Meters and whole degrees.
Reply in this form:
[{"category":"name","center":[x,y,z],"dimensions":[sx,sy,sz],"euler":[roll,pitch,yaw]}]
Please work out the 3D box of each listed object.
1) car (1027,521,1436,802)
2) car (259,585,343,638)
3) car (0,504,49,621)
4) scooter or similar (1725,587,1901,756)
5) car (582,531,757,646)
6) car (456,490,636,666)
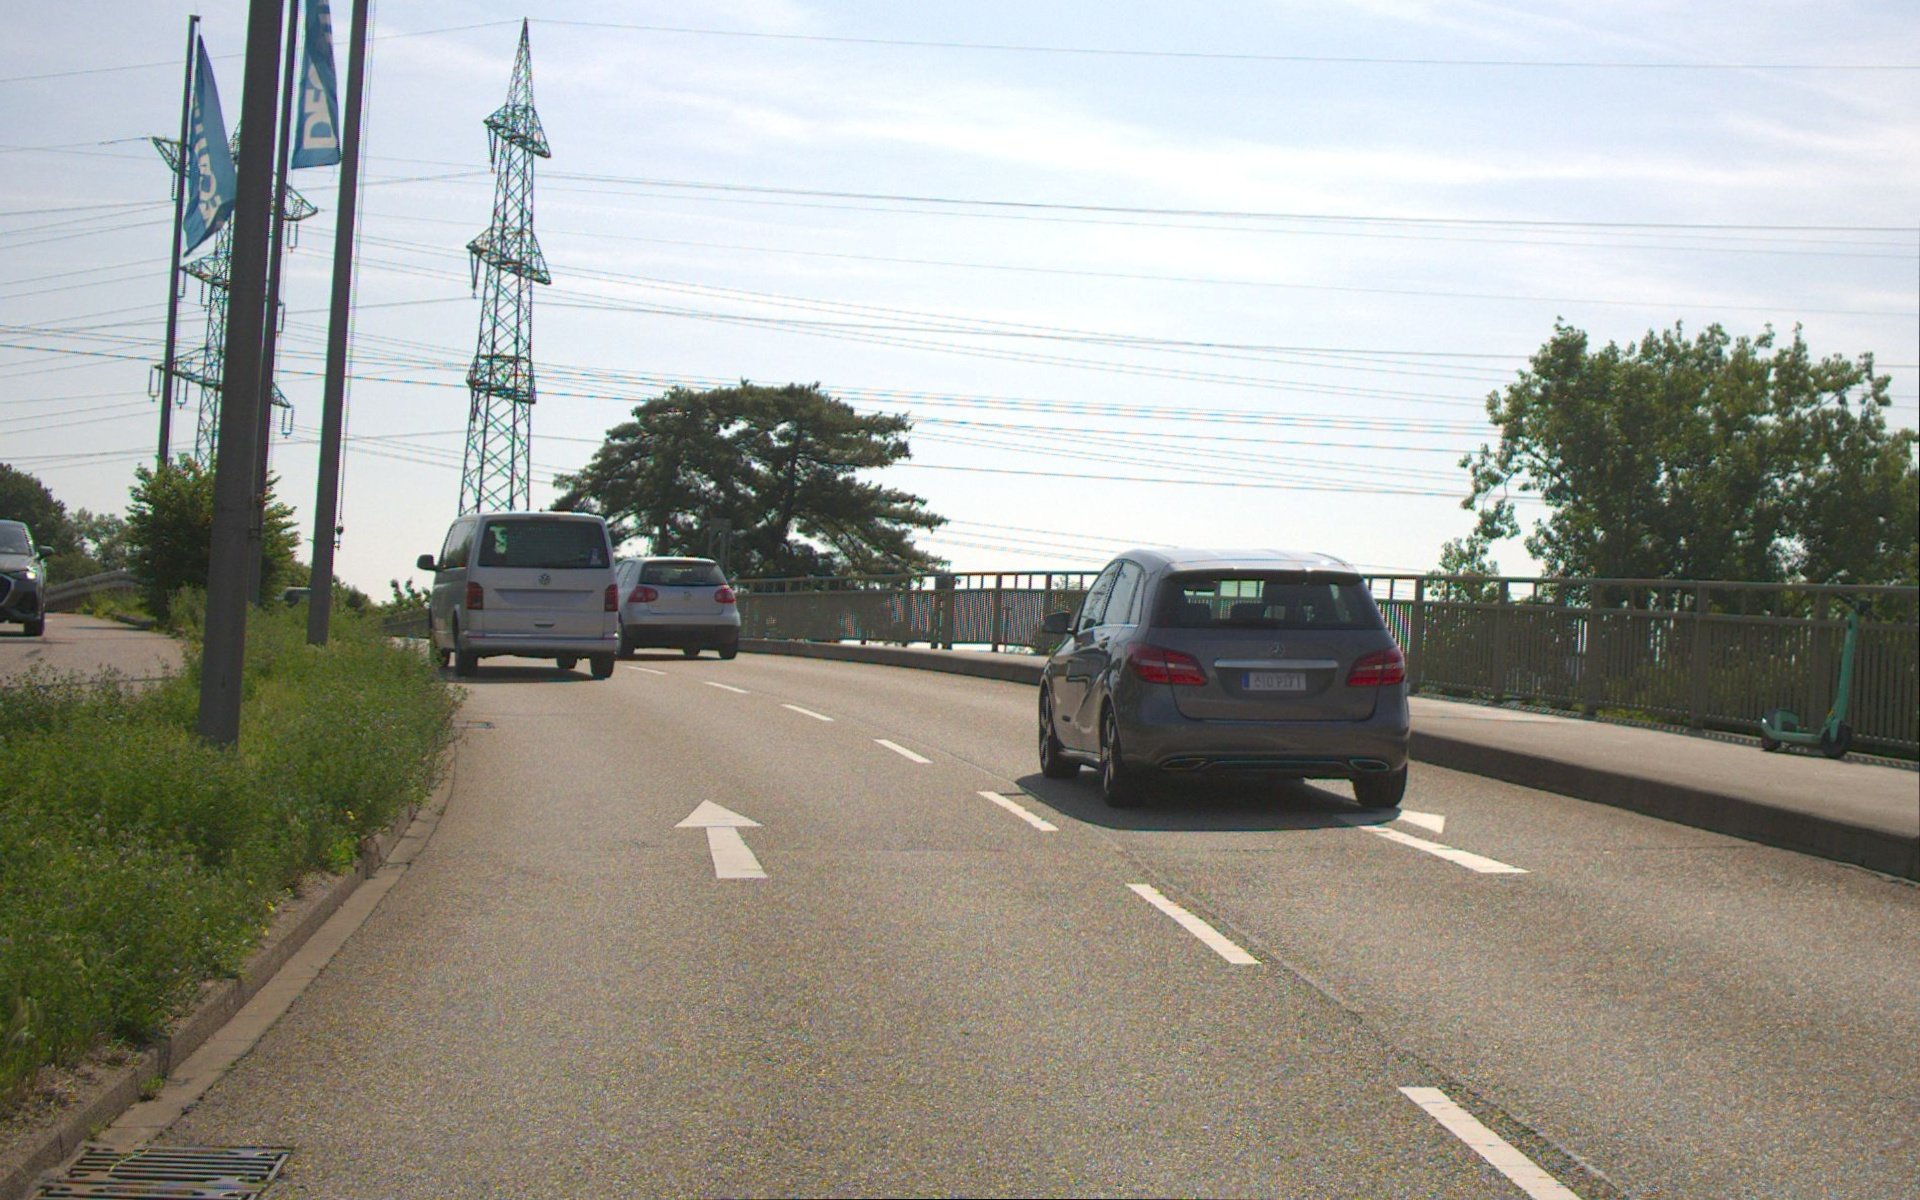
[{"category":"car","center":[1.588,0.372,21.592],"dimensions":[1.856,1.524,4.144],"euler":[2,-1,-5]},{"category":"car","center":[-17.295,0.296,90.119],"dimensions":[1.773,1.327,3.741],"euler":[1,0,-17]},{"category":"car","center":[-13.135,-0.540,45.921],"dimensions":[1.783,1.479,4.261],"euler":[1,1,-14]},{"category":"scooter or similar","center":[6.121,0.499,24.734],"dimensions":[0.511,1.139,1.482],"euler":[3,0,-15]},{"category":"car","center":[-4.322,-0.199,50.624],"dimensions":[1.856,1.524,4.145],"euler":[3,1,-14]},{"category":"car","center":[-4.992,-0.283,41.602],"dimensions":[2.039,2.007,4.001],"euler":[-1,1,-6]}]
